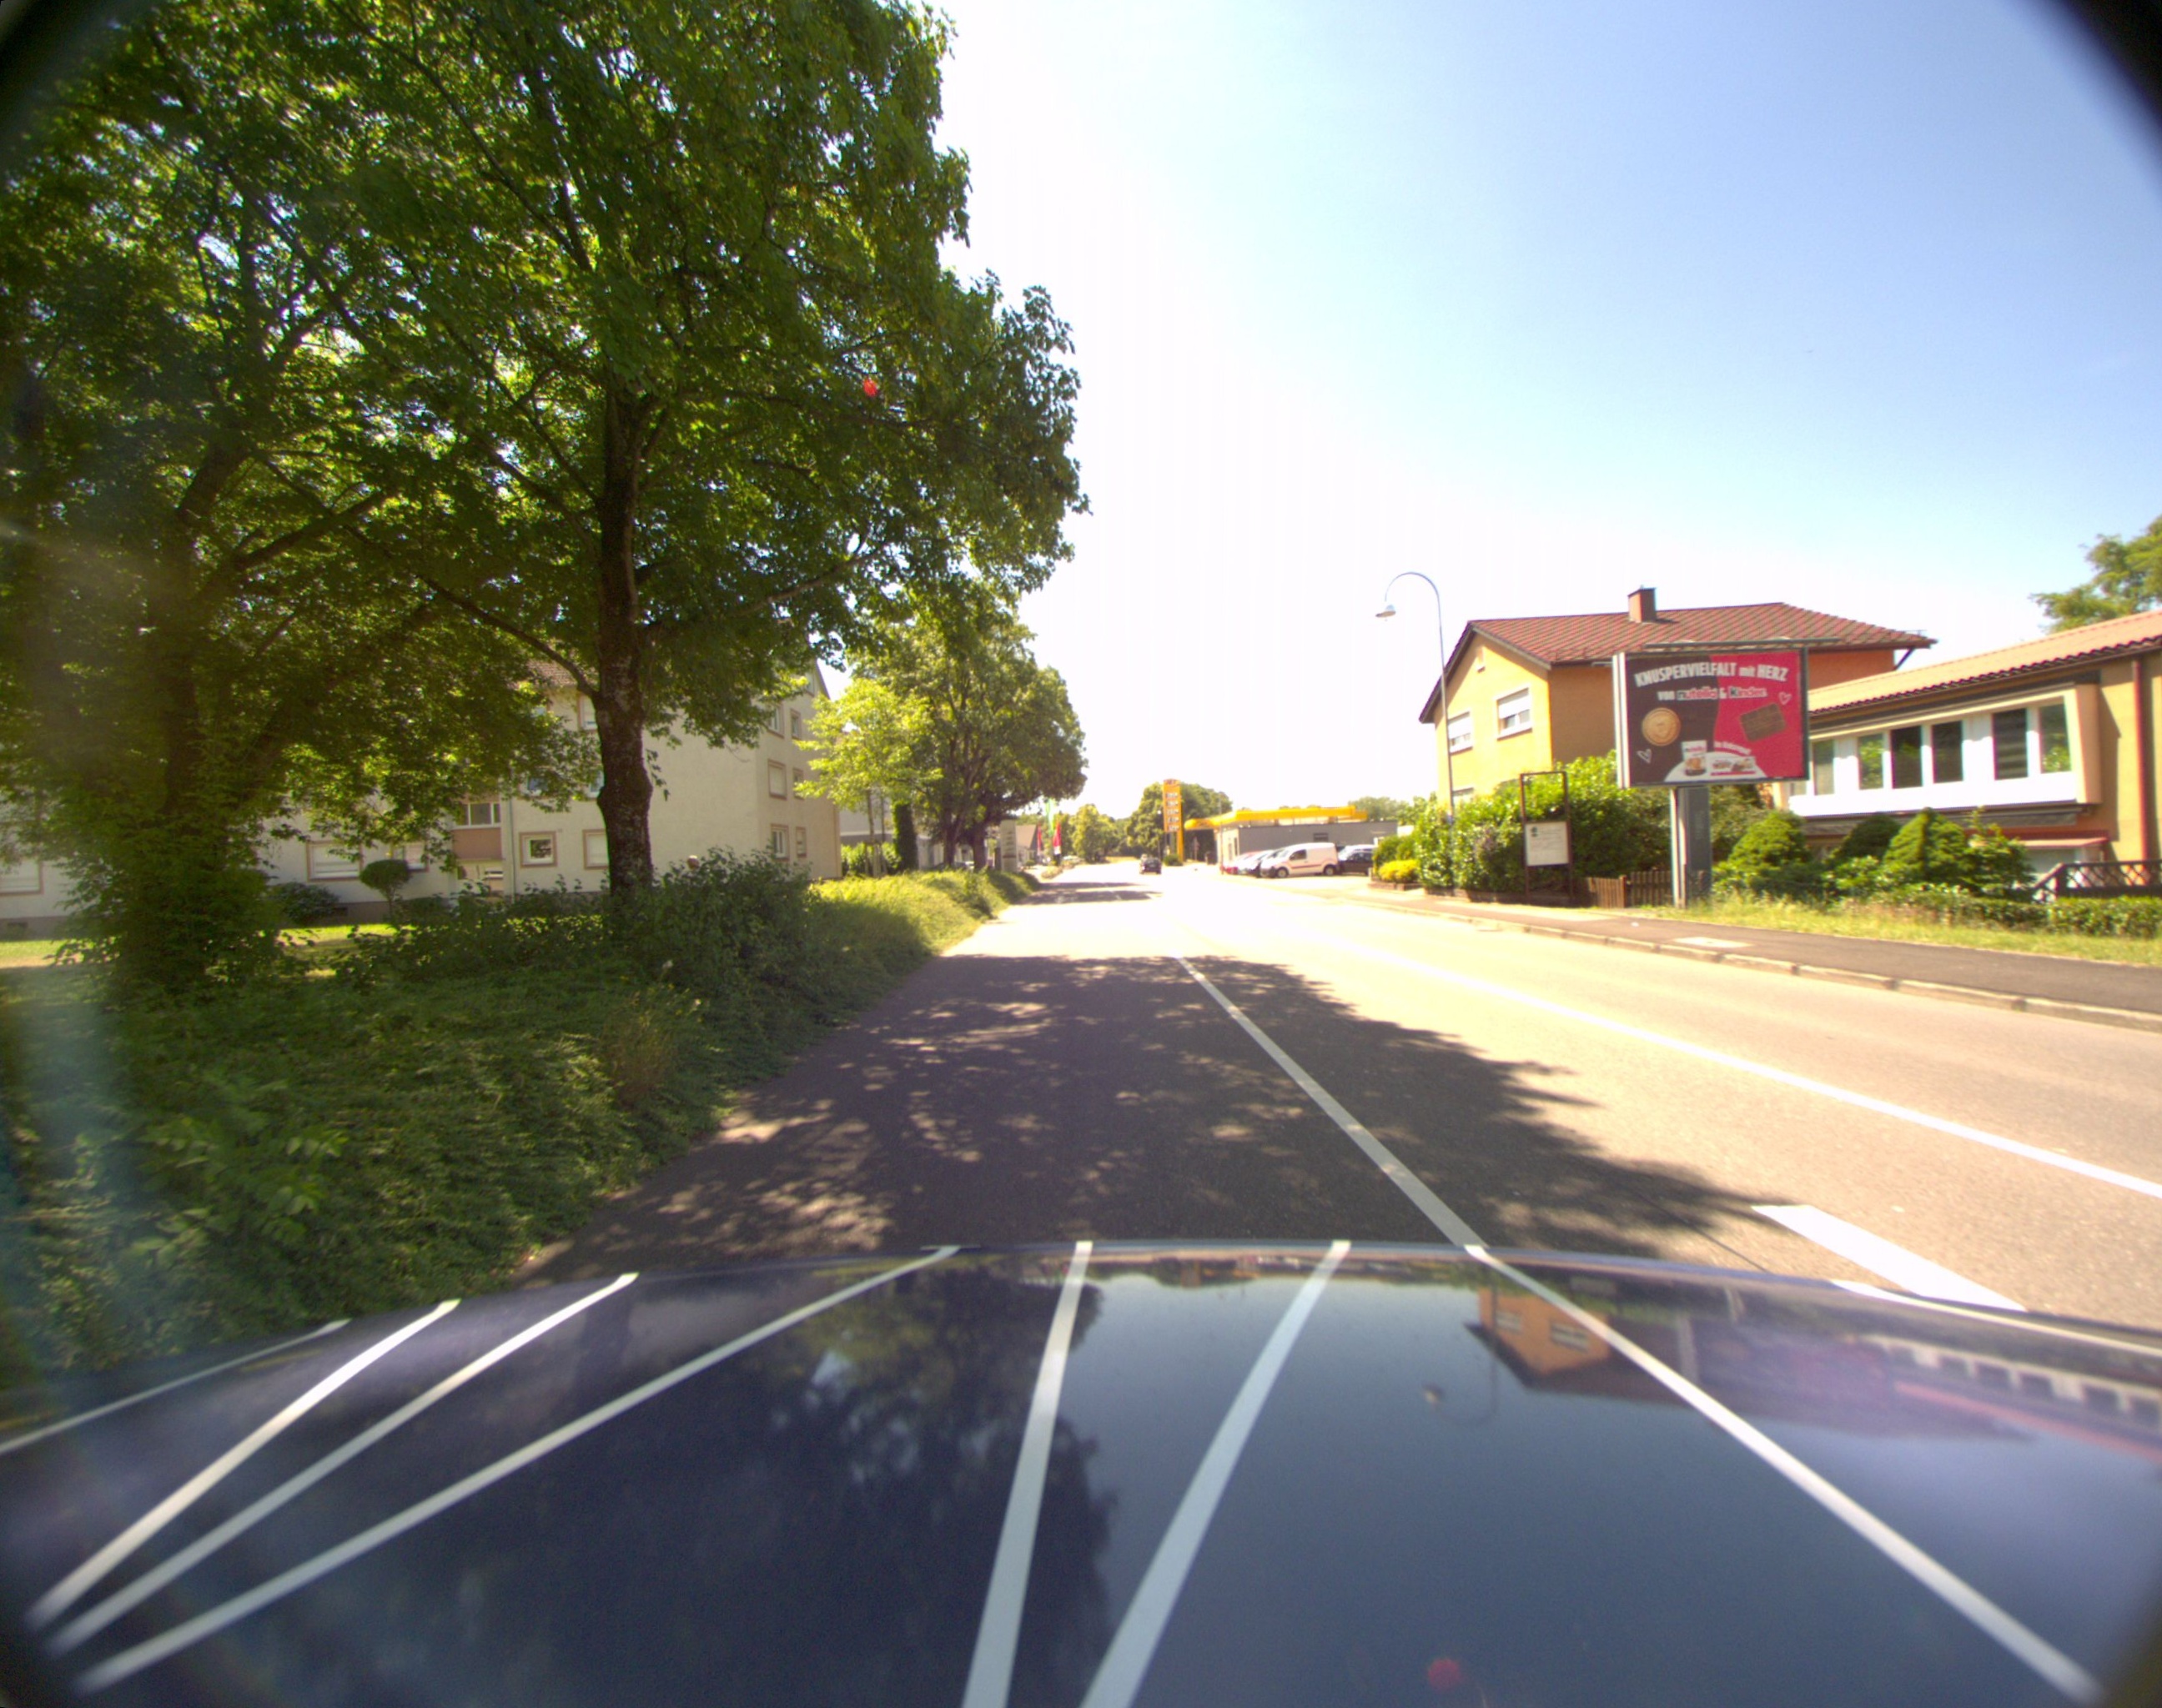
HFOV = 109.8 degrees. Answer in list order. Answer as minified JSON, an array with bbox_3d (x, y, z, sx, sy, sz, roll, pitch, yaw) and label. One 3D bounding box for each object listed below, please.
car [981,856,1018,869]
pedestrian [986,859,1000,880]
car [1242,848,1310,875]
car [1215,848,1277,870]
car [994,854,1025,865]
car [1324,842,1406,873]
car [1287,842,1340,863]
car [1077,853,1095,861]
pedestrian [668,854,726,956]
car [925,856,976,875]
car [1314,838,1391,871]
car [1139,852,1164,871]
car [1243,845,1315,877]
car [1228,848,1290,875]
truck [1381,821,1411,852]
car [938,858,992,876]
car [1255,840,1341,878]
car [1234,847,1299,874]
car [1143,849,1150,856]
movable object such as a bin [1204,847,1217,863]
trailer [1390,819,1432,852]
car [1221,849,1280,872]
[{"bbox_3d":[-11.008,1.123,102.686,4.586,1.632,2.002,-2,1,20],"label":"car"},{"bbox_3d":[-7.091,1.270,60.997,0.842,1.632,1.010,-2,1,5],"label":"pedestrian"},{"bbox_3d":[11.974,0.446,46.808,3.673,1.523,1.922,-2,1,-2],"label":"car"},{"bbox_3d":[12.121,0.348,56.109,4.136,1.435,1.826,-2,1,0],"label":"car"},{"bbox_3d":[-10.307,0.848,109.614,3.992,1.452,1.807,-2,1,16],"label":"car"},{"bbox_3d":[16.562,0.181,44.440,3.997,1.559,1.830,-3,0,-1],"label":"car"},{"bbox_3d":[19.968,-0.150,65.260,3.996,1.575,1.754,-2,1,2],"label":"car"},{"bbox_3d":[0.935,0.564,148.259,3.405,1.497,1.582,-1,0,2],"label":"car"},{"bbox_3d":[-7.395,0.965,14.655,0.705,1.903,0.660,-2,1,3],"label":"pedestrian"},{"bbox_3d":[-11.050,0.940,64.540,3.997,1.541,1.797,-1,1,0],"label":"car"},{"bbox_3d":[16.610,0.031,46.619,3.912,1.850,2.000,-2,0,-1],"label":"car"},{"bbox_3d":[6.027,0.662,65.484,1.714,1.486,4.277,-2,0,0],"label":"car"},{"bbox_3d":[11.556,0.404,44.537,3.673,1.663,1.922,-2,1,-2],"label":"car"},{"bbox_3d":[11.940,0.480,51.108,3.673,1.596,1.881,-2,1,-2],"label":"car"},{"bbox_3d":[34.442,-1.896,83.171,1.850,3.223,3.190,-2,0,1],"label":"truck"},{"bbox_3d":[-10.427,1.130,68.306,4.362,1.363,1.952,-3,1,-22],"label":"car"},{"bbox_3d":[12.078,0.258,42.438,4.105,1.887,1.999,-2,1,-4],"label":"car"},{"bbox_3d":[11.907,0.426,48.914,3.673,1.572,1.922,-2,1,-2],"label":"car"},{"bbox_3d":[17.832,-0.365,206.615,1.973,1.662,4.250,-2,0,6],"label":"car"},{"bbox_3d":[13.517,0.118,79.252,0.954,1.508,1.428,-7,-1,1],"label":"movable object such as a bin"},{"bbox_3d":[34.372,-1.915,79.311,1.869,3.200,5.914,-2,0,1],"label":"trailer"},{"bbox_3d":[11.921,0.472,53.594,3.673,1.449,1.892,-2,1,-2],"label":"car"}]
